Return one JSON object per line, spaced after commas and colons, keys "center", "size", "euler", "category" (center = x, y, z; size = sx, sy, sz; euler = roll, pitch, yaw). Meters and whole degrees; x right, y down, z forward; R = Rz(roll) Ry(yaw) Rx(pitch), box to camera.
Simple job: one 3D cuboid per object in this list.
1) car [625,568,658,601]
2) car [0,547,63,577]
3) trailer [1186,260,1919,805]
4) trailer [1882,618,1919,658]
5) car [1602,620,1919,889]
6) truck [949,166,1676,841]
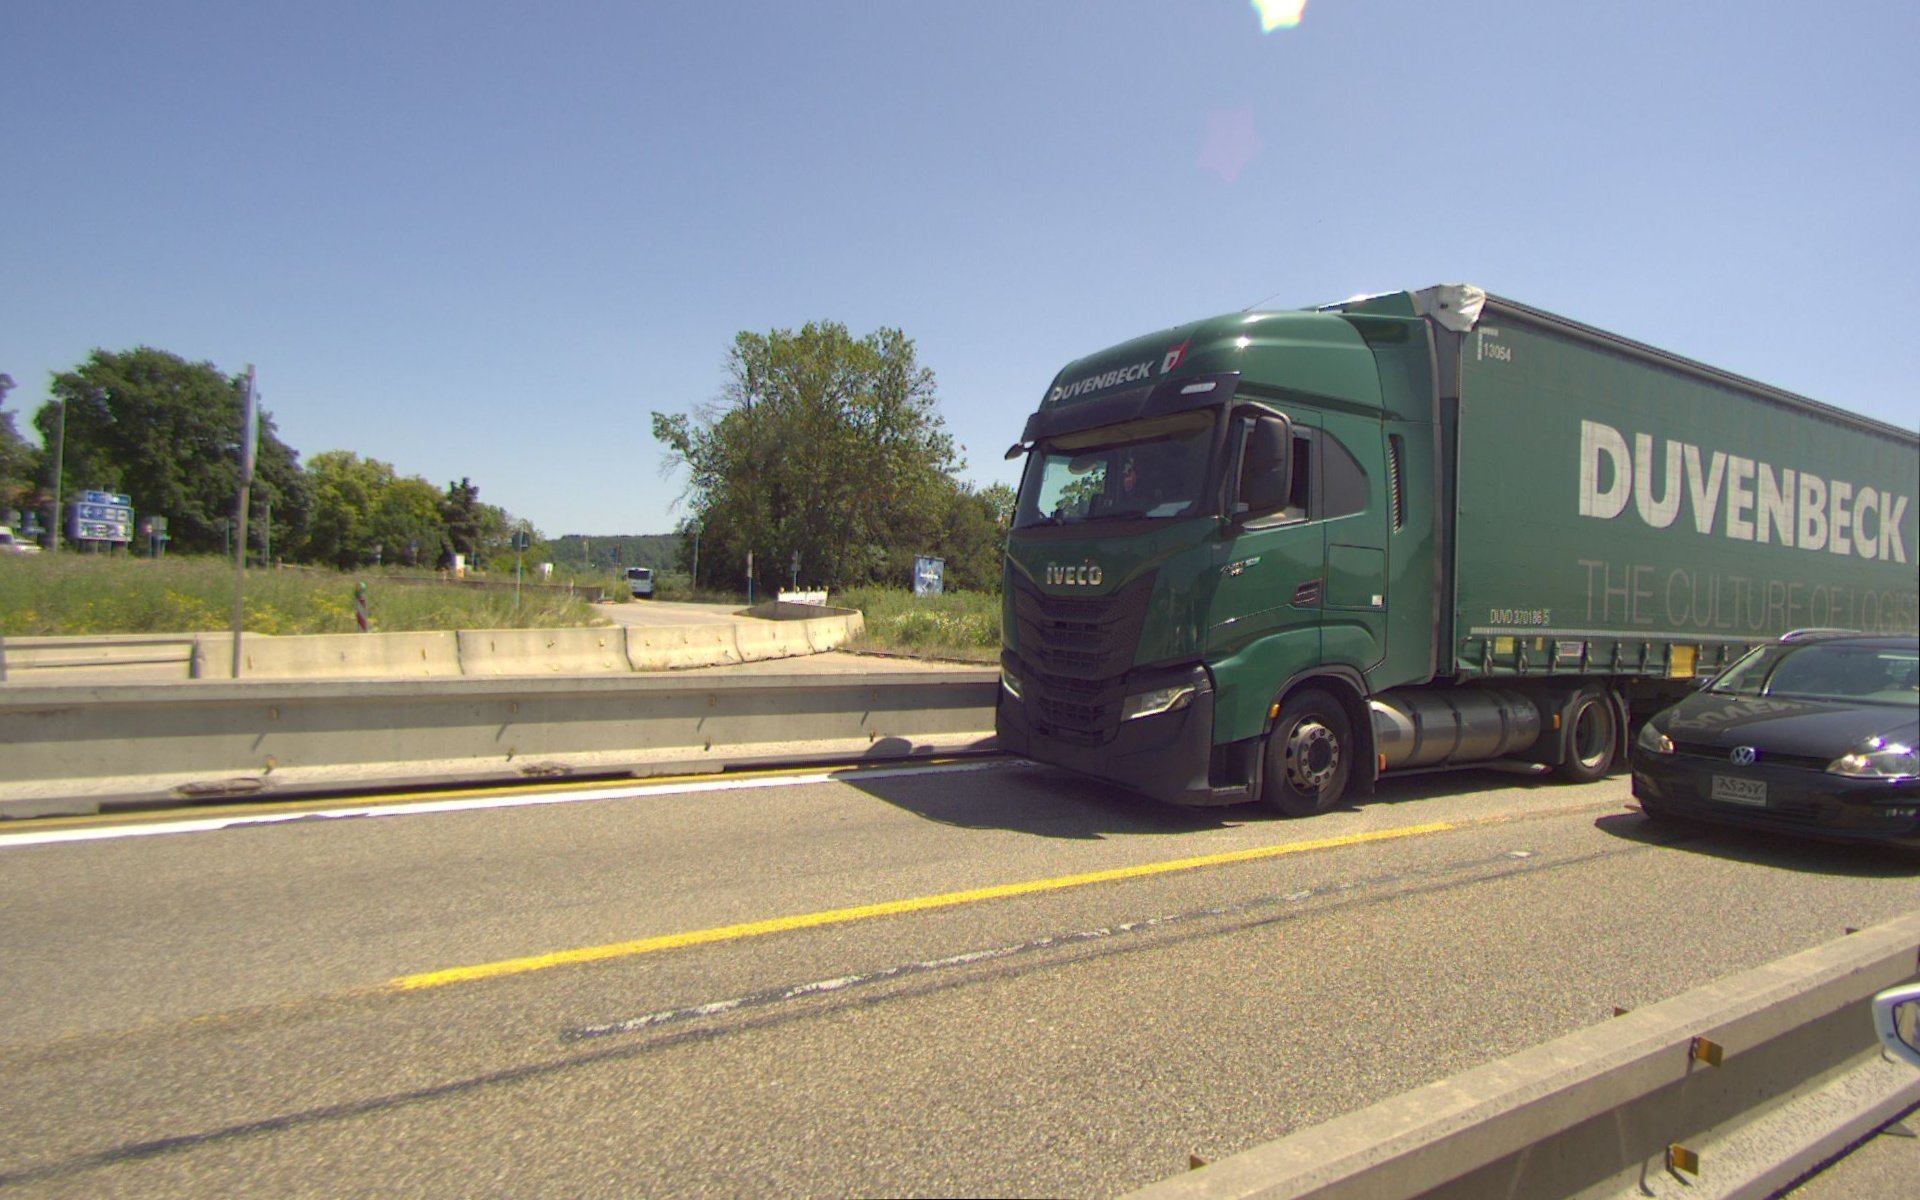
{"center": [-20.987, -1.019, 66.047], "size": [1.969, 2.041, 3.982], "euler": [2, 1, -19], "category": "car"}
{"center": [-64.517, -2.631, 69.042], "size": [1.707, 1.858, 4.002], "euler": [2, 0, 12], "category": "car"}
{"center": [8.999, -0.359, 12.697], "size": [13.693, 4.254, 2.991], "euler": [2, 0, -31], "category": "trailer"}
{"center": [107.685, 4.332, 108.493], "size": [13.893, 4.165, 3.159], "euler": [3, -1, -4], "category": "trailer"}
{"center": [6.866, 0.954, 7.569], "size": [4.179, 1.493, 1.757], "euler": [2, 0, -31], "category": "car"}
{"center": [3.364, -0.540, 9.246], "size": [6.212, 4.259, 2.991], "euler": [2, 0, -31], "category": "truck"}
